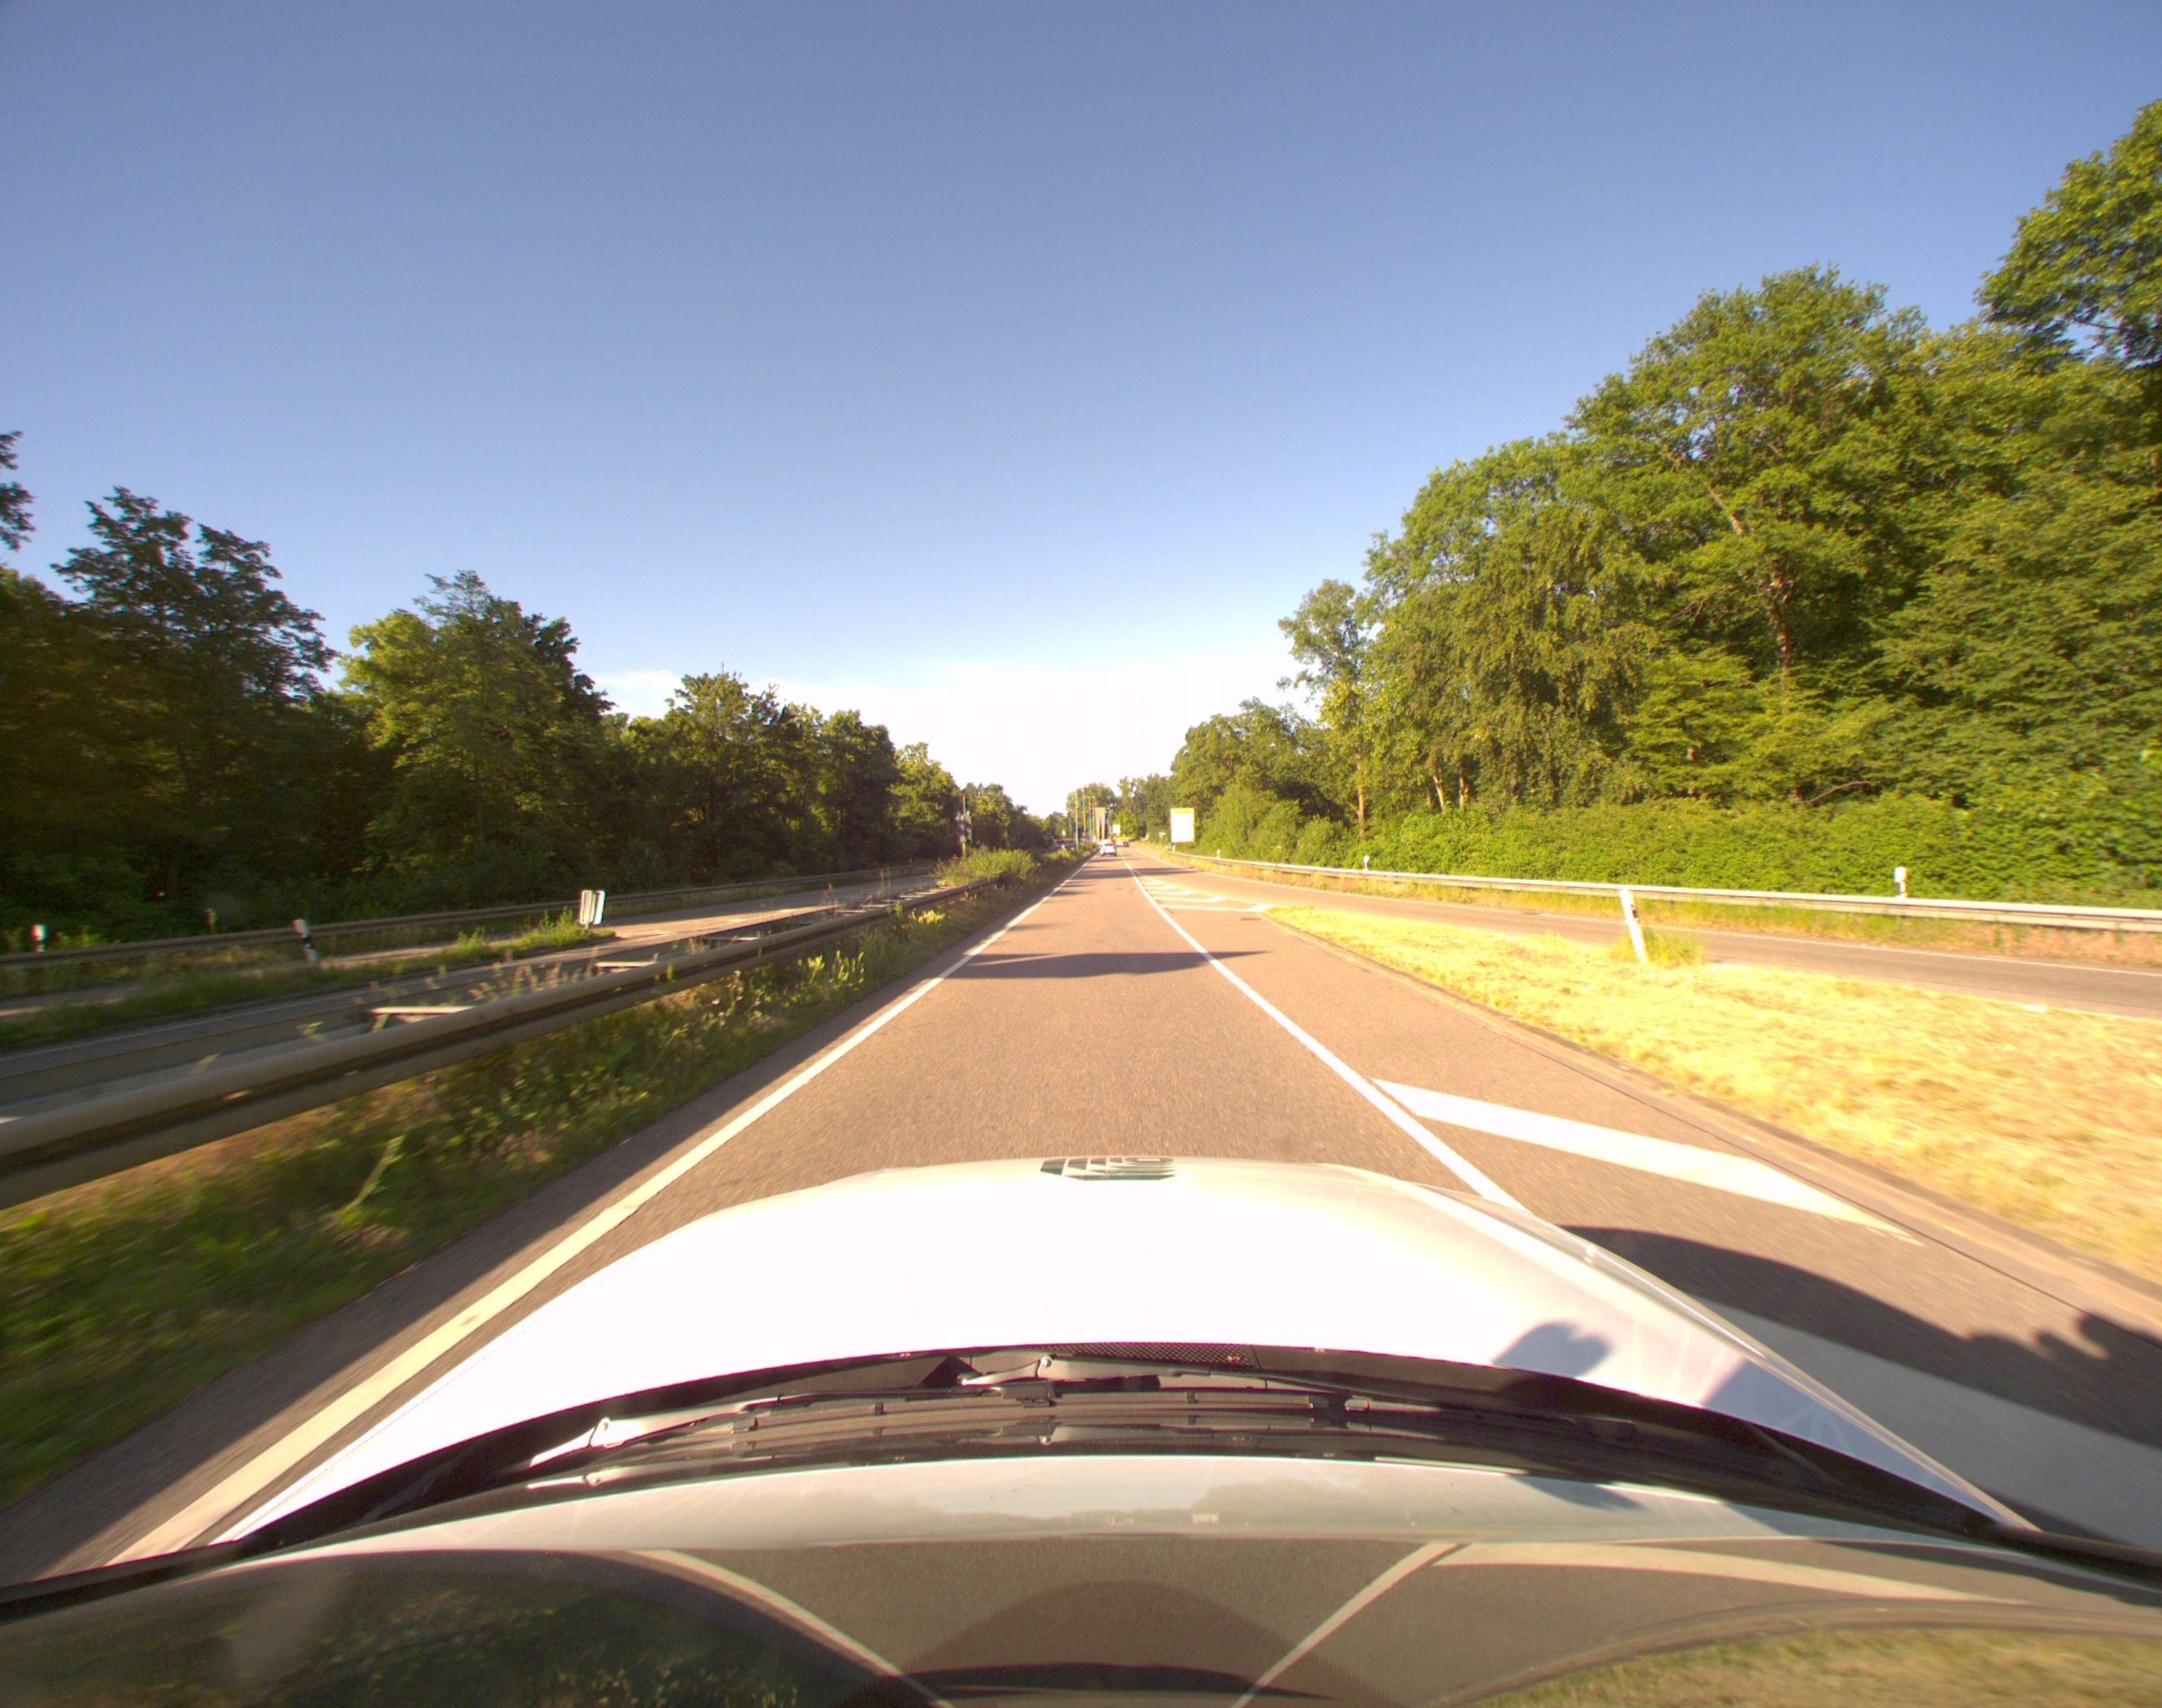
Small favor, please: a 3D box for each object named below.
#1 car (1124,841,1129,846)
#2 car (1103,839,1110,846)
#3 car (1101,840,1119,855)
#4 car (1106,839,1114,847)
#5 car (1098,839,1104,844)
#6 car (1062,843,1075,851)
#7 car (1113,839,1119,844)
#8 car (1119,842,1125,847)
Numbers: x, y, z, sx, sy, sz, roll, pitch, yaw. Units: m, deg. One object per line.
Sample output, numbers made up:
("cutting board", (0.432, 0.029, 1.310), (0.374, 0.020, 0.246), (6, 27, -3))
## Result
("car", (11.395, -2.640, 204.383), (1.382, 1.280, 2.988), (1, 0, 2))
("car", (7.377, -3.247, 232.570), (1.986, 2.013, 4.001), (0, 0, 1))
("car", (3.503, -0.846, 98.727), (1.987, 1.639, 4.129), (-2, 2, 1))
("car", (7.731, -2.971, 216.198), (1.986, 1.879, 4.251), (-2, 2, 1))
("car", (6.150, -3.753, 245.630), (1.821, 1.513, 3.633), (0, 0, 1))
("car", (-2.193, -1.234, 145.412), (1.773, 1.403, 4.558), (-2, 1, 4))
("car", (10.575, -3.661, 244.548), (1.618, 1.389, 2.988), (1, 0, 2))
("car", (11.181, -2.627, 222.159), (1.618, 1.280, 2.988), (1, 0, 2))
